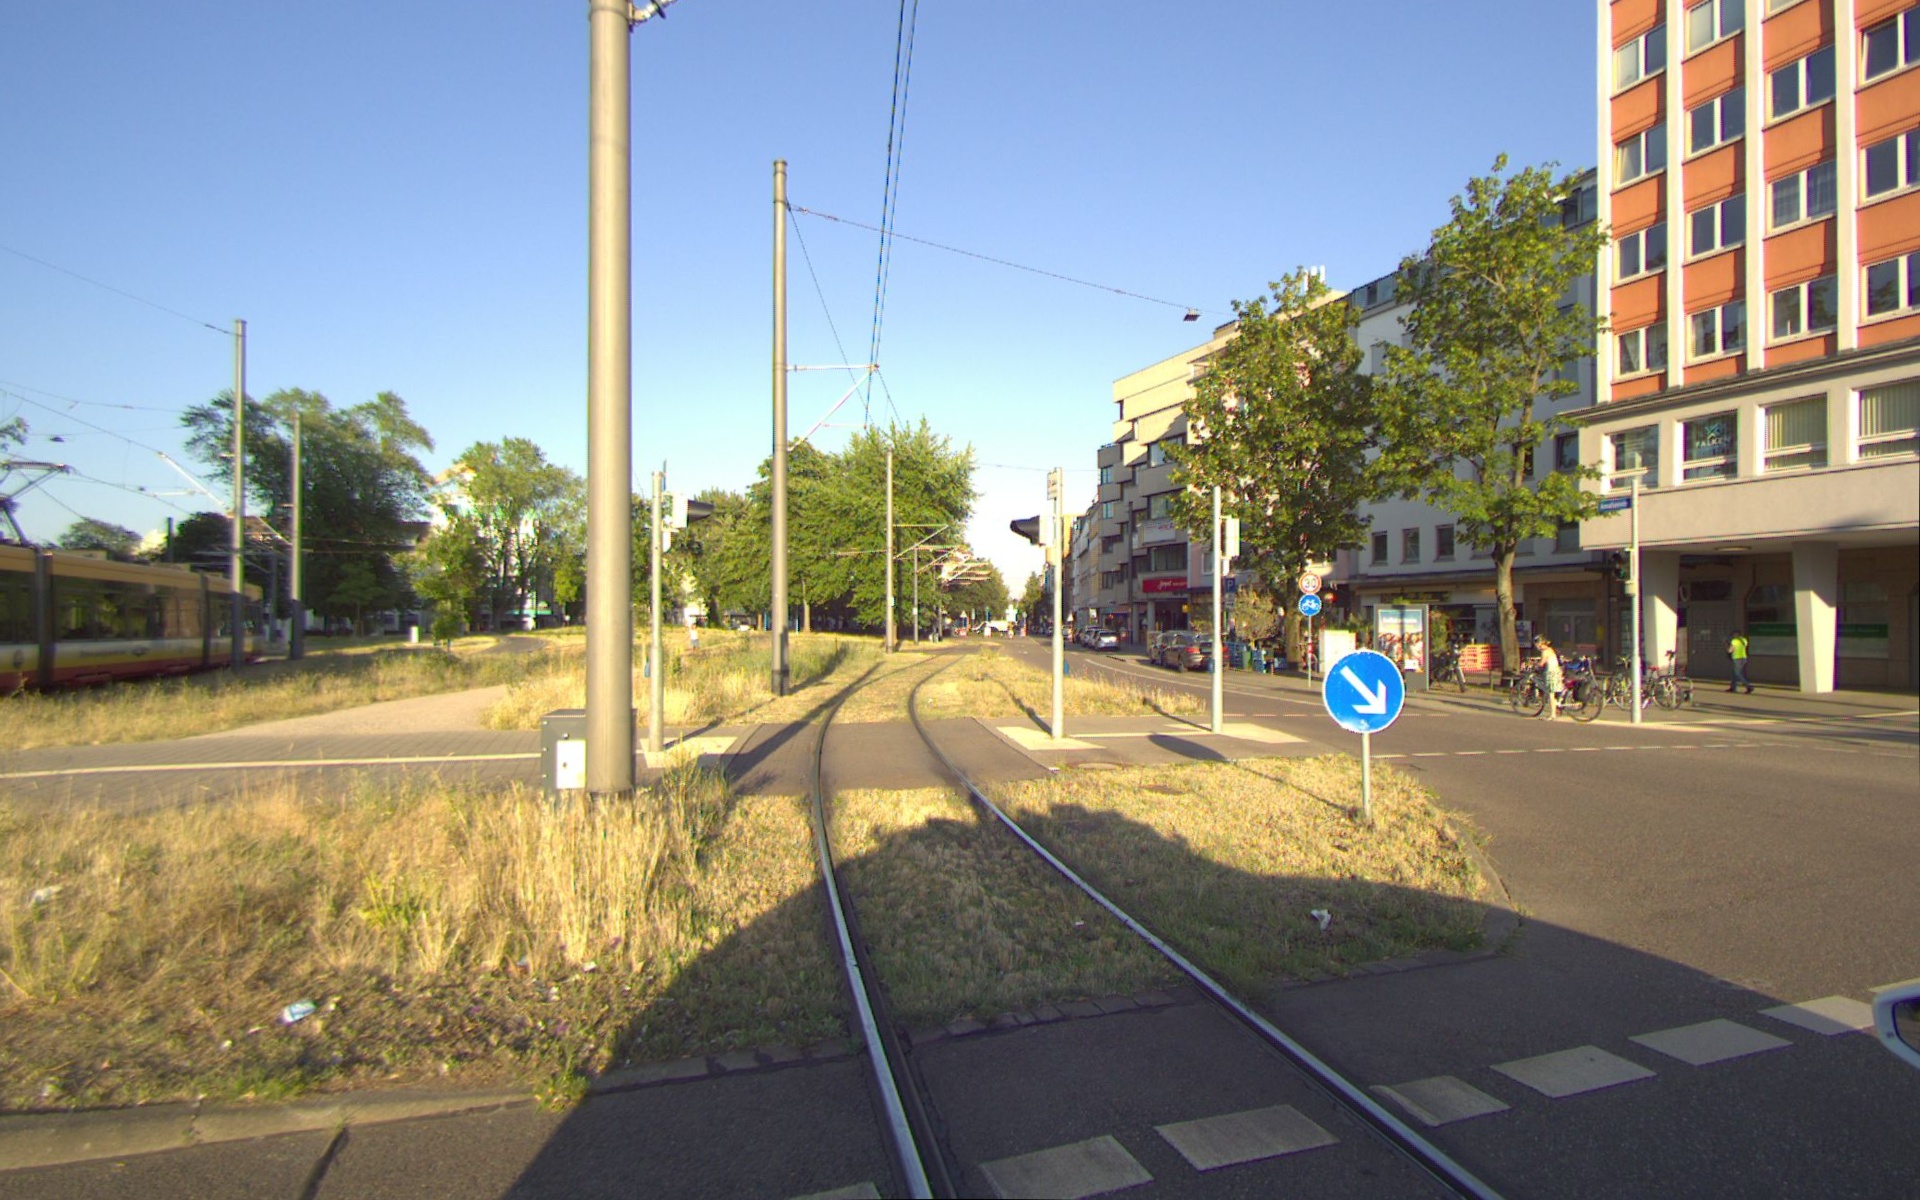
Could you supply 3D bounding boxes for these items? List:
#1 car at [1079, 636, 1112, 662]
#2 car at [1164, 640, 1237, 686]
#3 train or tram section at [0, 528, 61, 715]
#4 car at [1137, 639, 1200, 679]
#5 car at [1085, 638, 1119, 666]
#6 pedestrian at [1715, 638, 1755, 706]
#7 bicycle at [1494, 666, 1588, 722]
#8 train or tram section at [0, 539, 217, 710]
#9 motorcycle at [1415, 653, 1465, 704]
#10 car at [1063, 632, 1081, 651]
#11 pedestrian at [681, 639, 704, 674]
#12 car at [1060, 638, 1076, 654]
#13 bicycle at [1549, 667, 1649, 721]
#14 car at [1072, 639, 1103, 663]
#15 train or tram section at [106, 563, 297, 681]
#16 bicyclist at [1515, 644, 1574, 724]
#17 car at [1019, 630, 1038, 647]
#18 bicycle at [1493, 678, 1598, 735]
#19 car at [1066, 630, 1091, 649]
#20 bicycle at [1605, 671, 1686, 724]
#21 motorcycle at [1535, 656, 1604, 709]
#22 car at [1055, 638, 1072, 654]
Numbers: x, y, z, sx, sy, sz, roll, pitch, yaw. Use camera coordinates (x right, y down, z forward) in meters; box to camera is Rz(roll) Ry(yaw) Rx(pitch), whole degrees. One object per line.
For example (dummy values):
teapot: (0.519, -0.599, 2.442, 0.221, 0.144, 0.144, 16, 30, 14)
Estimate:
car: (10.301, 3.702, 76.394, 1.960, 1.886, 4.001, 0, -2, 0)
car: (9.626, 2.510, 40.564, 1.961, 1.706, 4.000, 0, -2, 0)
train or tram section: (-19.413, 0.333, 16.140, 2.875, 3.788, 13.154, 0, -1, -21)
car: (9.597, 2.693, 46.527, 1.961, 1.724, 4.000, 0, -1, -1)
car: (10.011, 3.640, 71.027, 1.888, 1.889, 4.001, 0, -2, 1)
pedestrian: (21.166, 1.958, 27.434, 0.577, 1.815, 0.637, 0, -1, -23)
bicycle: (12.677, 2.031, 21.970, 0.462, 1.089, 1.898, 0, -2, -21)
train or tram section: (-24.000, 0.691, 27.632, 2.845, 3.788, 12.118, 0, -1, -23)
motorcycle: (13.235, 2.159, 27.714, 0.375, 1.335, 1.384, 0, -1, -19)
car: (12.163, 4.493, 109.346, 1.959, 2.007, 4.003, 0, -2, 6)
pedestrian: (-11.762, 2.466, 44.138, 0.689, 1.515, 0.907, 1, -1, -35)
car: (13.876, 5.936, 129.371, 1.960, 2.040, 4.002, 0, -2, 5)
bicycle: (14.262, 2.079, 22.491, 0.462, 1.089, 1.986, 0, -2, -21)
car: (10.438, 4.156, 82.466, 1.961, 1.863, 4.000, 0, -1, 0)
train or tram section: (-28.594, 0.865, 38.628, 2.873, 3.788, 12.126, 0, -1, -23)
bicyclist: (11.073, 1.573, 19.041, 0.497, 1.445, 0.846, 1, -2, -43)
car: (8.536, 4.751, 124.265, 1.959, 2.040, 4.002, -1, 0, 9)
bicycle: (11.066, 2.004, 19.031, 0.506, 0.957, 1.647, 1, -2, -43)
car: (11.309, 3.749, 95.962, 1.960, 1.733, 4.001, 0, -1, 0)
bicycle: (15.500, 2.183, 22.742, 0.389, 1.089, 1.553, 0, -2, -21)
motorcycle: (16.043, 2.152, 26.436, 1.808, 1.335, 0.543, 1, -1, -20)
car: (12.780, 5.644, 124.479, 1.960, 1.903, 3.906, 0, -2, 4)
